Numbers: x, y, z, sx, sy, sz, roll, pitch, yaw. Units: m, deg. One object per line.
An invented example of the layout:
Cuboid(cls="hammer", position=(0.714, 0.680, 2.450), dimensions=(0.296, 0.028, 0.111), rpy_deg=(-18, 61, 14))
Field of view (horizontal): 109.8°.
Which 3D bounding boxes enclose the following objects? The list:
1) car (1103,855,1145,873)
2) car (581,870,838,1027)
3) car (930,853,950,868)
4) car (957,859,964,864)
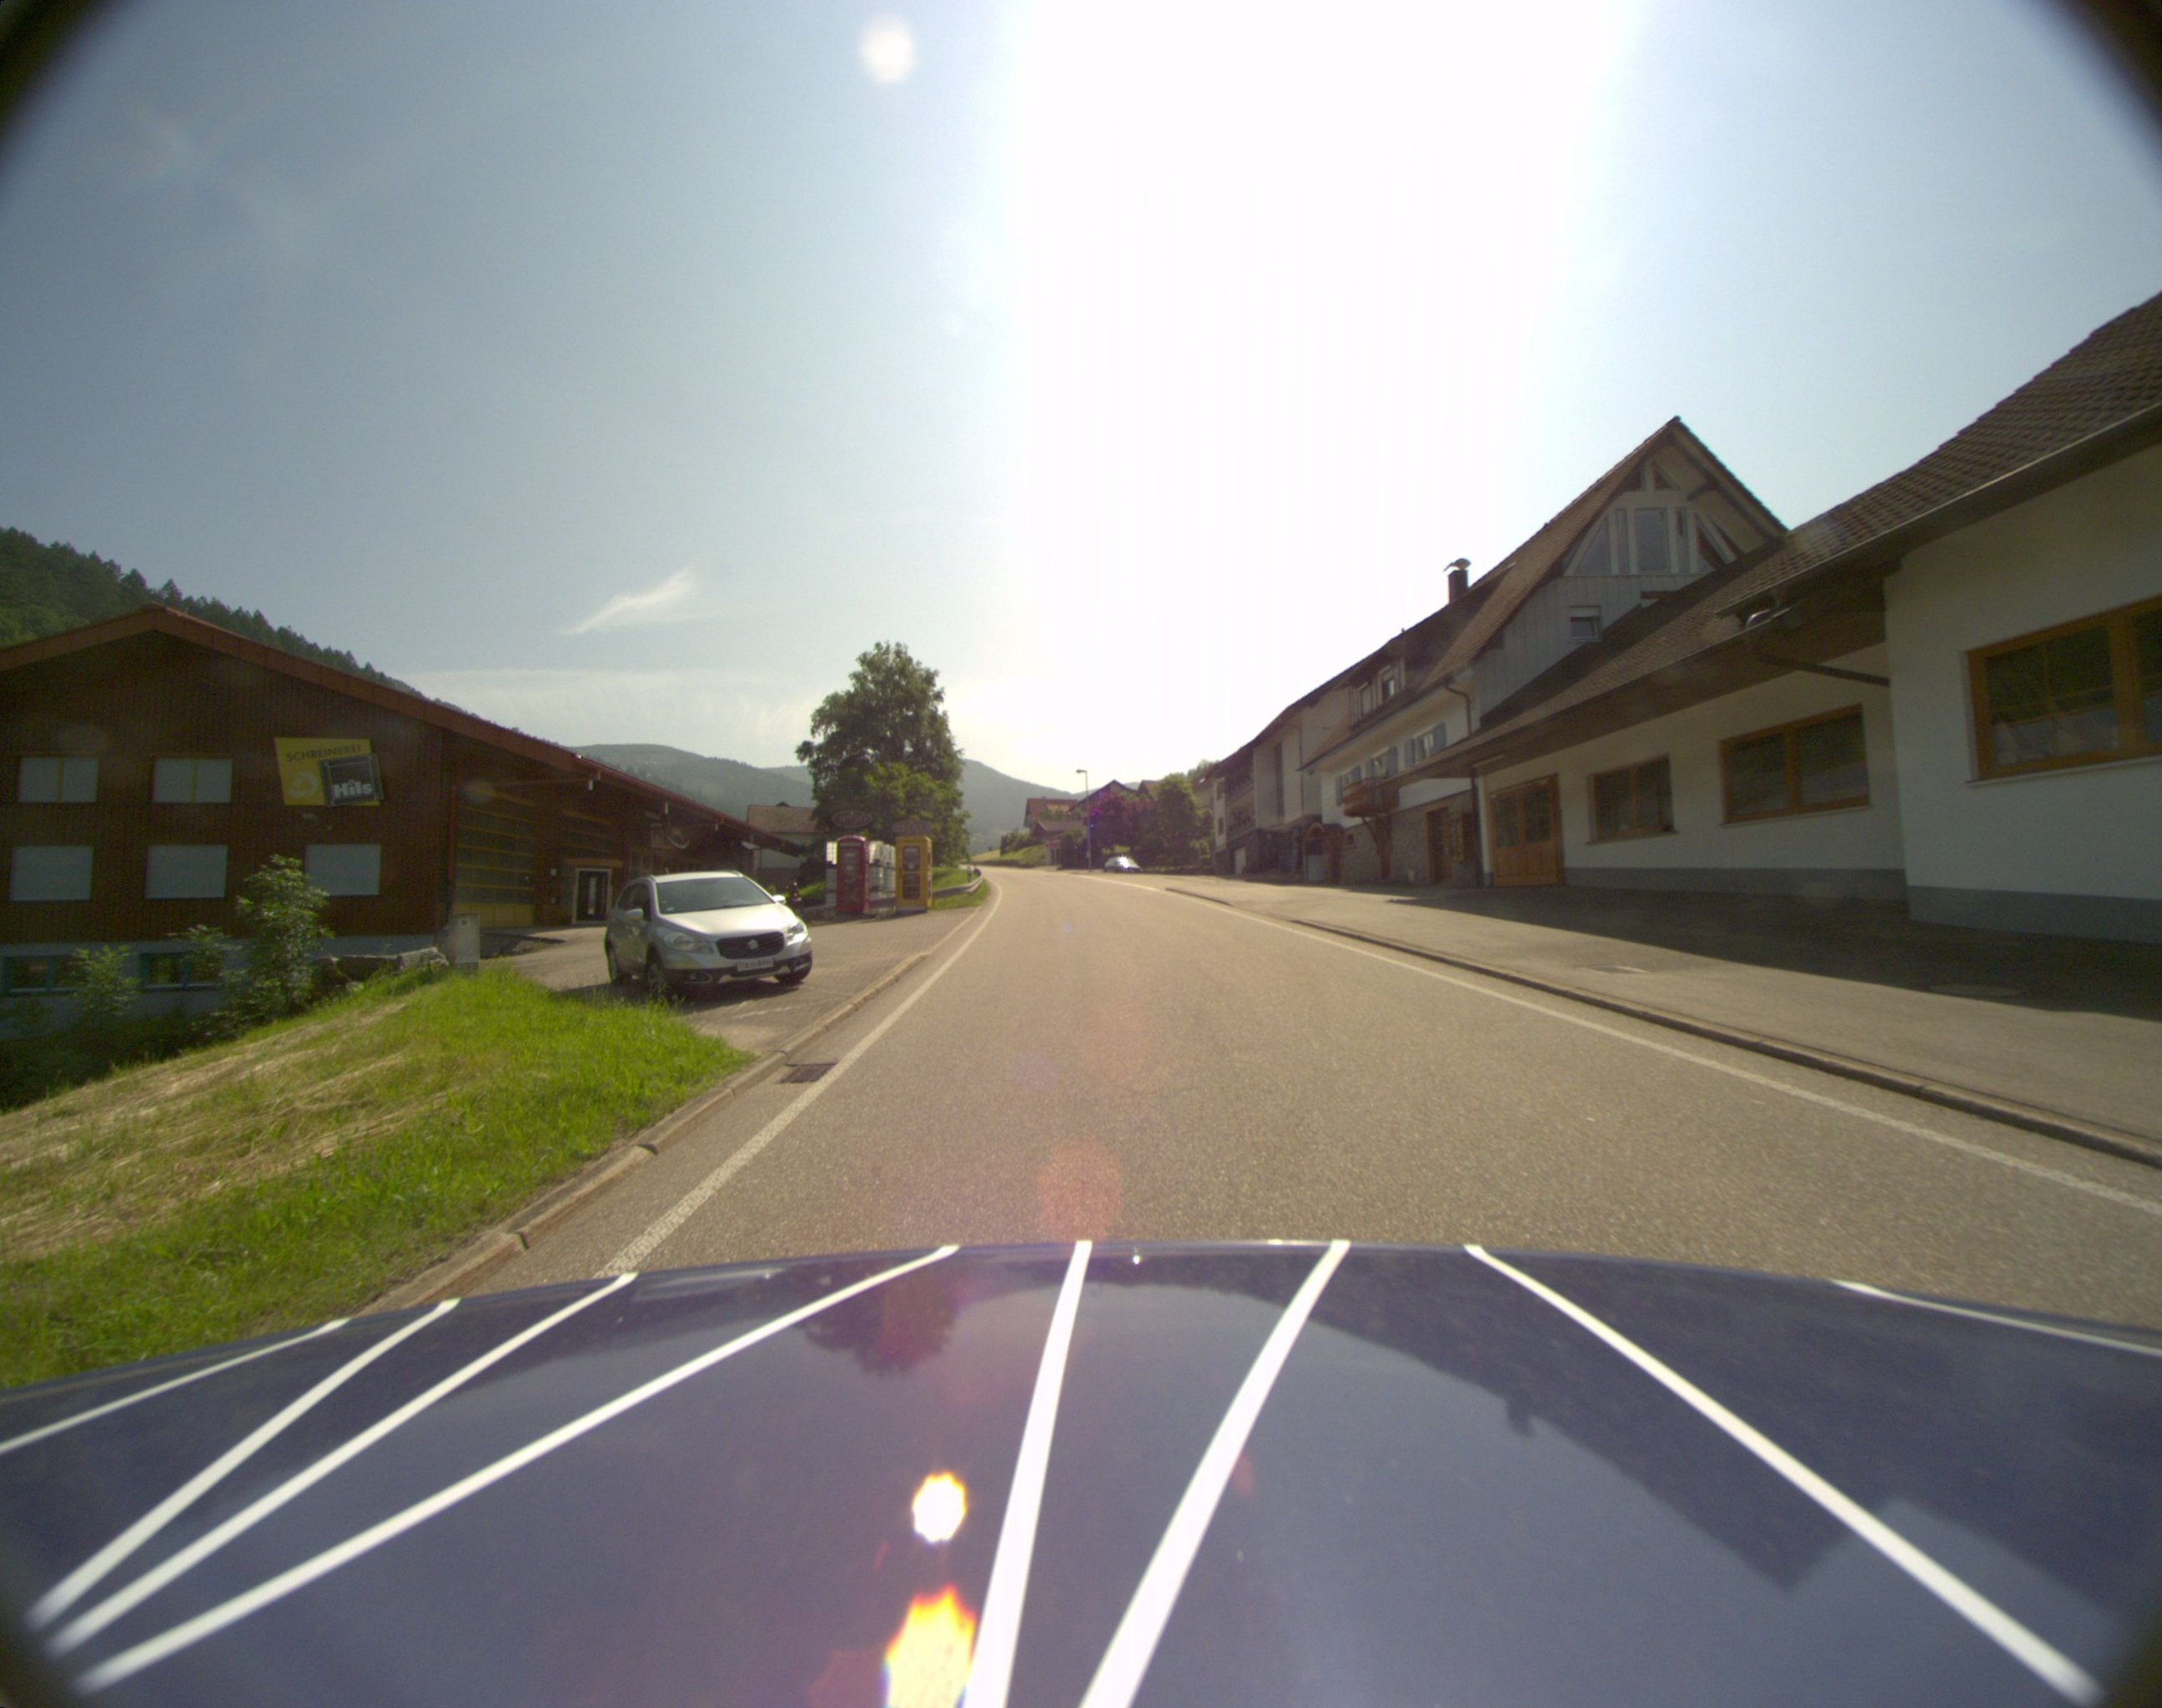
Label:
Cuboid(cls="car", position=(3.264, 0.742, 58.752), dimensions=(1.789, 1.331, 4.689), rpy_deg=(-1, 0, -16))
Cuboid(cls="car", position=(-5.240, 1.121, 10.364), dimensions=(1.909, 1.561, 4.451), rpy_deg=(-4, 0, -42))
Cuboid(cls="car", position=(-17.434, 0.827, 94.035), dimensions=(1.814, 1.802, 4.662), rpy_deg=(0, 0, -4))
Cuboid(cls="car", position=(-36.507, 2.306, 229.524), dimensions=(1.817, 1.500, 4.258), rpy_deg=(-2, 0, -13))
